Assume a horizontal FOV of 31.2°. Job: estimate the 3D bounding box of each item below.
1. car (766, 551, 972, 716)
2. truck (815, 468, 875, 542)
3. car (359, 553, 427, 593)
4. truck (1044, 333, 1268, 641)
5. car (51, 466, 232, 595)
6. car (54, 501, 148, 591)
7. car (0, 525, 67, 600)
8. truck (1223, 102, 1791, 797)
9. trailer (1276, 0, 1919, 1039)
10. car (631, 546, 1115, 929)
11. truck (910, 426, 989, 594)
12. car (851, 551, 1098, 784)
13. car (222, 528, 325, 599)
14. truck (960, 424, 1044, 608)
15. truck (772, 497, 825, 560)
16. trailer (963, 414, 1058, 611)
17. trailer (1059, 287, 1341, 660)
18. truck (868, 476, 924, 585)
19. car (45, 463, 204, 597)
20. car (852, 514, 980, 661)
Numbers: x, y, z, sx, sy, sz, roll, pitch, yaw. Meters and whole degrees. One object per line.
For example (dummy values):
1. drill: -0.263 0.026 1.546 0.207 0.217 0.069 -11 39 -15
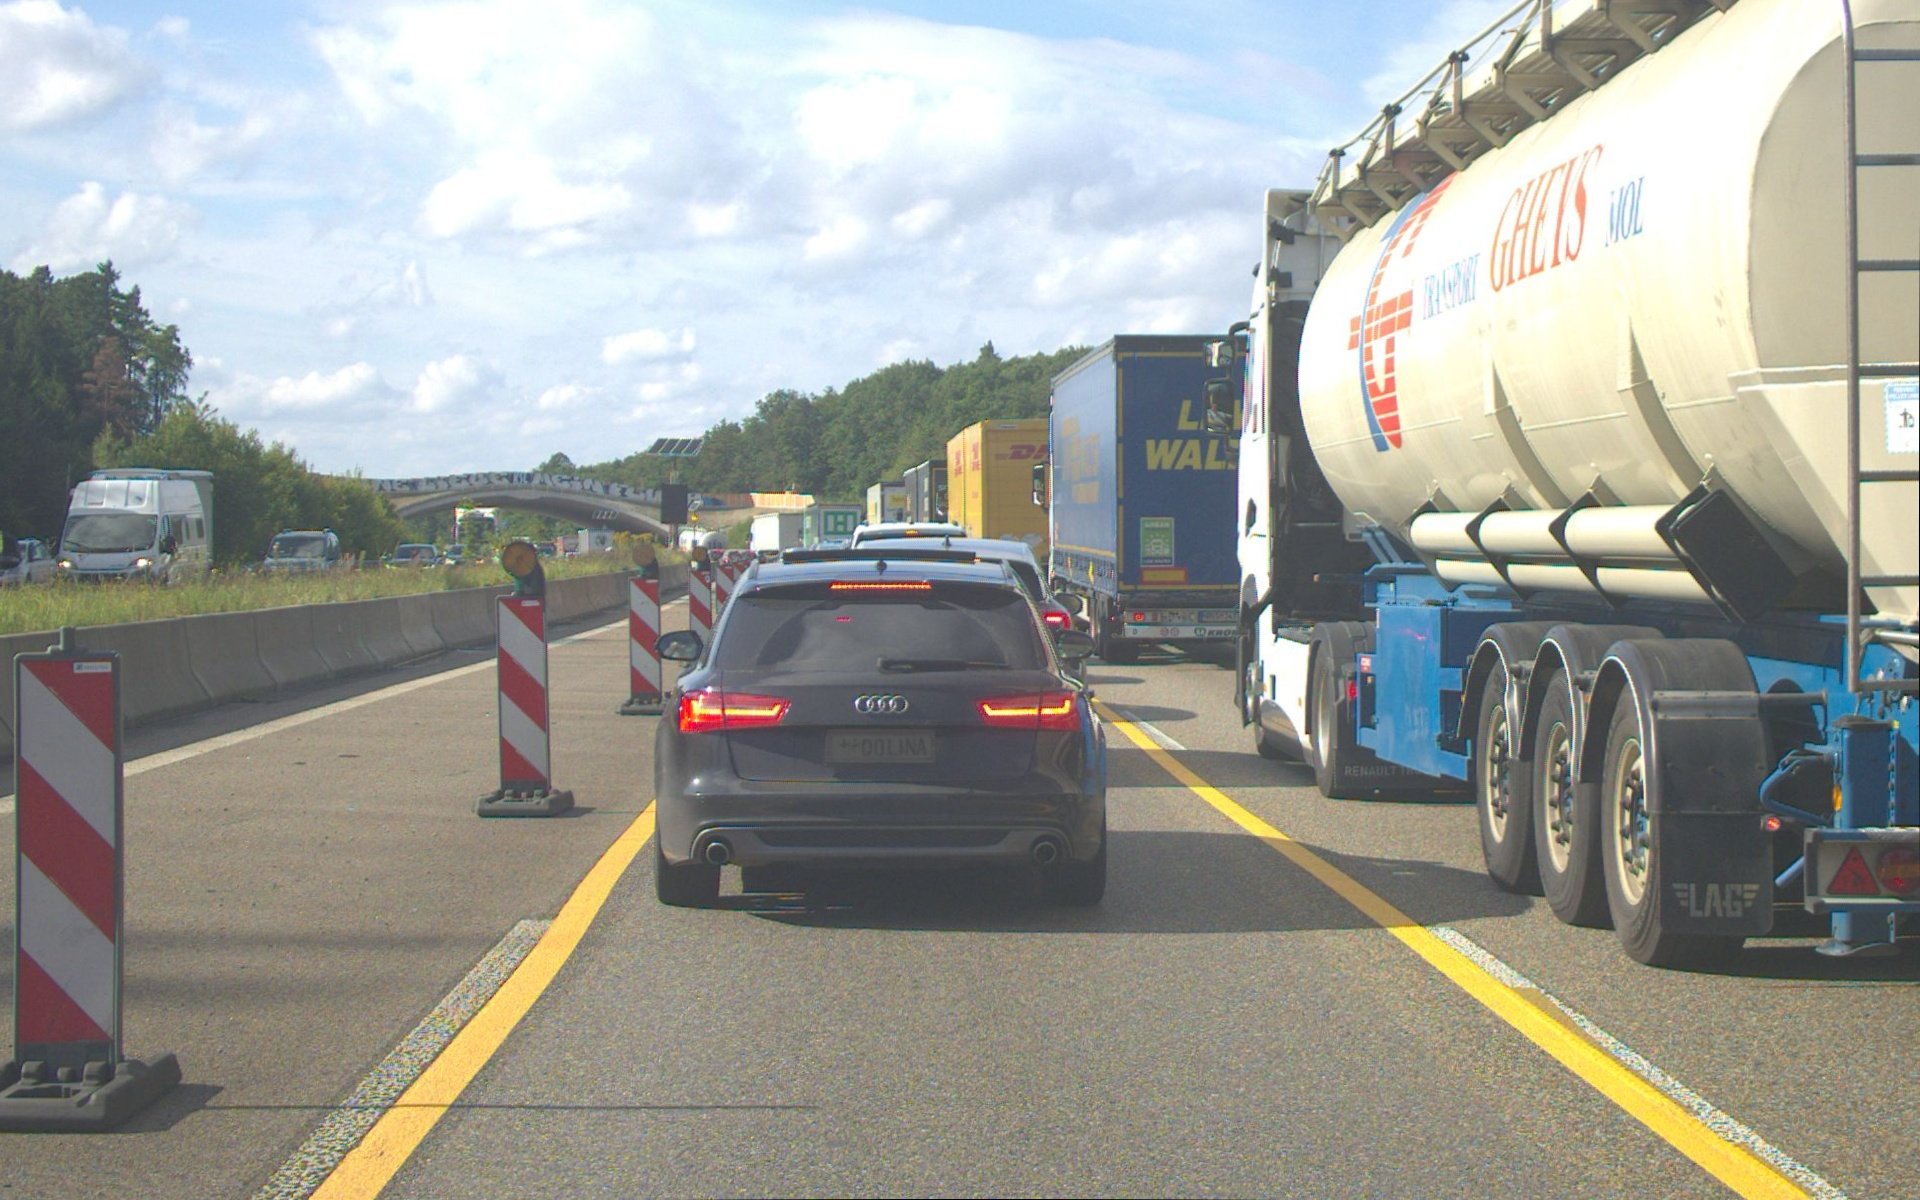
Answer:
1. car: -0.810 0.274 31.384 1.751 1.392 3.608 1 0 -1
2. truck: -6.759 -5.518 201.061 3.303 4.160 9.703 0 1 -3
3. car: -20.504 -0.983 124.400 1.779 1.382 4.310 1 0 -1
4. truck: 2.891 -1.647 53.038 2.806 4.354 7.792 1 0 -1
5. car: -16.244 -1.428 68.563 2.160 2.443 6.332 0 2 -1
6. car: -26.093 -1.631 104.591 2.250 2.634 5.021 1 0 -8
7. car: -26.122 -1.029 94.735 1.993 2.007 4.000 1 0 -1
8. truck: 3.370 -0.889 22.668 2.659 3.958 5.779 1 0 -1
9. trailer: 3.506 -0.820 15.863 2.644 3.929 12.598 1 1 -1
10. car: -0.366 0.512 15.173 1.848 1.458 4.000 0 0 -1
11. truck: -0.386 -2.716 105.225 1.993 4.897 9.563 1 1 -2
12. car: 0.063 0.409 23.115 1.524 1.434 3.285 1 0 -1
13. car: -18.195 -0.974 91.296 1.944 1.806 4.119 1 0 -1
14. truck: 0.889 -1.804 75.295 1.609 3.883 4.072 1 0 -2
15. truck: -10.933 -4.802 231.343 3.303 4.160 9.704 1 1 -4
16. trailer: 1.007 -1.765 71.715 1.616 3.905 6.490 1 0 -2
17. trailer: 3.009 -1.552 46.188 2.805 4.398 10.433 1 0 -1
18. truck: -2.576 -2.745 138.076 2.137 4.243 7.072 1 0 -1
19. car: -21.879 -1.795 90.360 2.486 3.358 7.453 1 0 -1
20. car: -0.580 -0.173 44.758 1.581 1.830 3.112 1 0 -1
